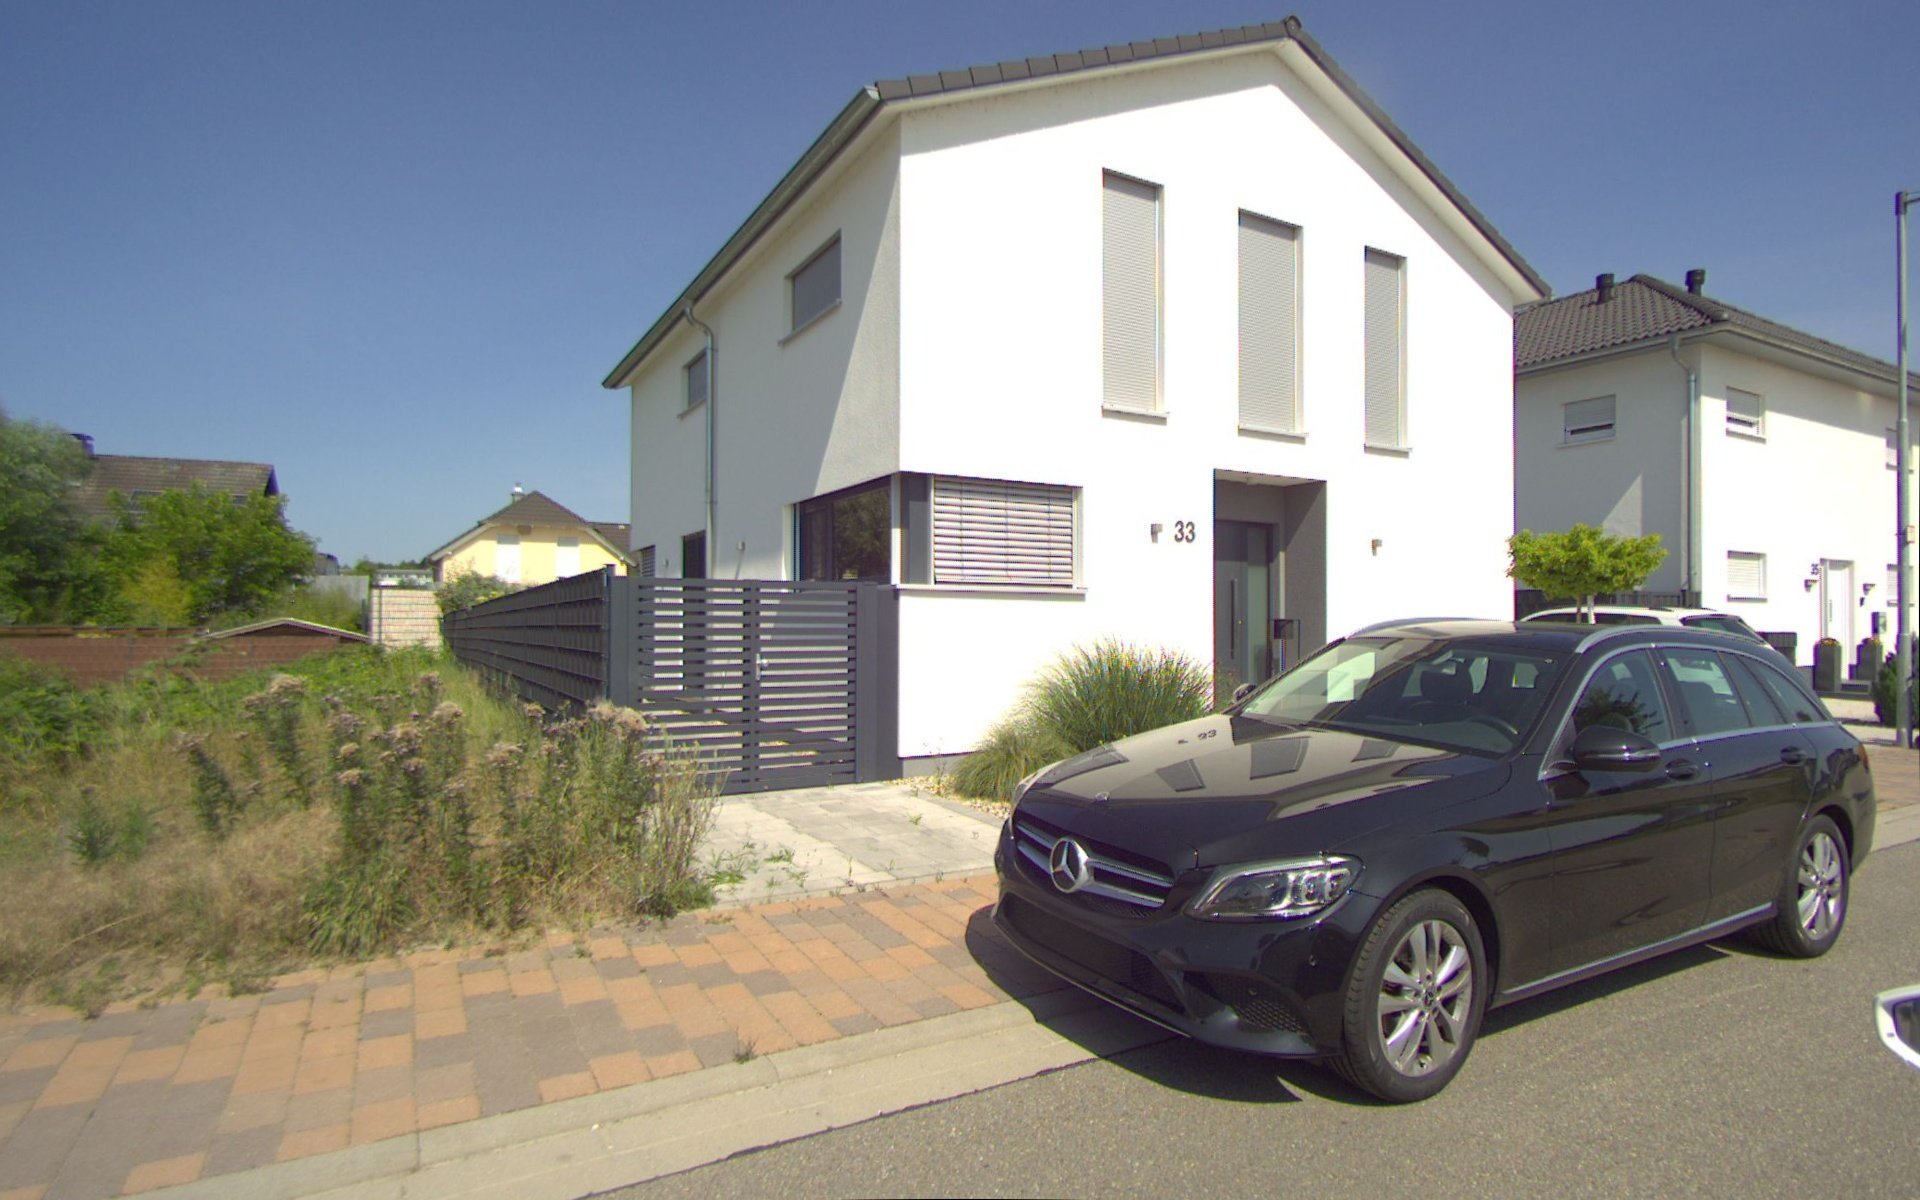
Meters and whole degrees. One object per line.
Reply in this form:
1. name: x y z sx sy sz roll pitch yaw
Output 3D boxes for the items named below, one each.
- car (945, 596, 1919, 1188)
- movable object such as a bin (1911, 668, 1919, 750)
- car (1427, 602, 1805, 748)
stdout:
1. car: 2.261 0.789 4.441 4.392 1.492 1.682 1 1 -30
2. movable object such as a bin: 11.397 1.265 11.610 0.525 0.938 0.483 1 -1 -33
3. car: 8.546 0.888 13.492 1.769 1.641 3.944 1 -1 -25
